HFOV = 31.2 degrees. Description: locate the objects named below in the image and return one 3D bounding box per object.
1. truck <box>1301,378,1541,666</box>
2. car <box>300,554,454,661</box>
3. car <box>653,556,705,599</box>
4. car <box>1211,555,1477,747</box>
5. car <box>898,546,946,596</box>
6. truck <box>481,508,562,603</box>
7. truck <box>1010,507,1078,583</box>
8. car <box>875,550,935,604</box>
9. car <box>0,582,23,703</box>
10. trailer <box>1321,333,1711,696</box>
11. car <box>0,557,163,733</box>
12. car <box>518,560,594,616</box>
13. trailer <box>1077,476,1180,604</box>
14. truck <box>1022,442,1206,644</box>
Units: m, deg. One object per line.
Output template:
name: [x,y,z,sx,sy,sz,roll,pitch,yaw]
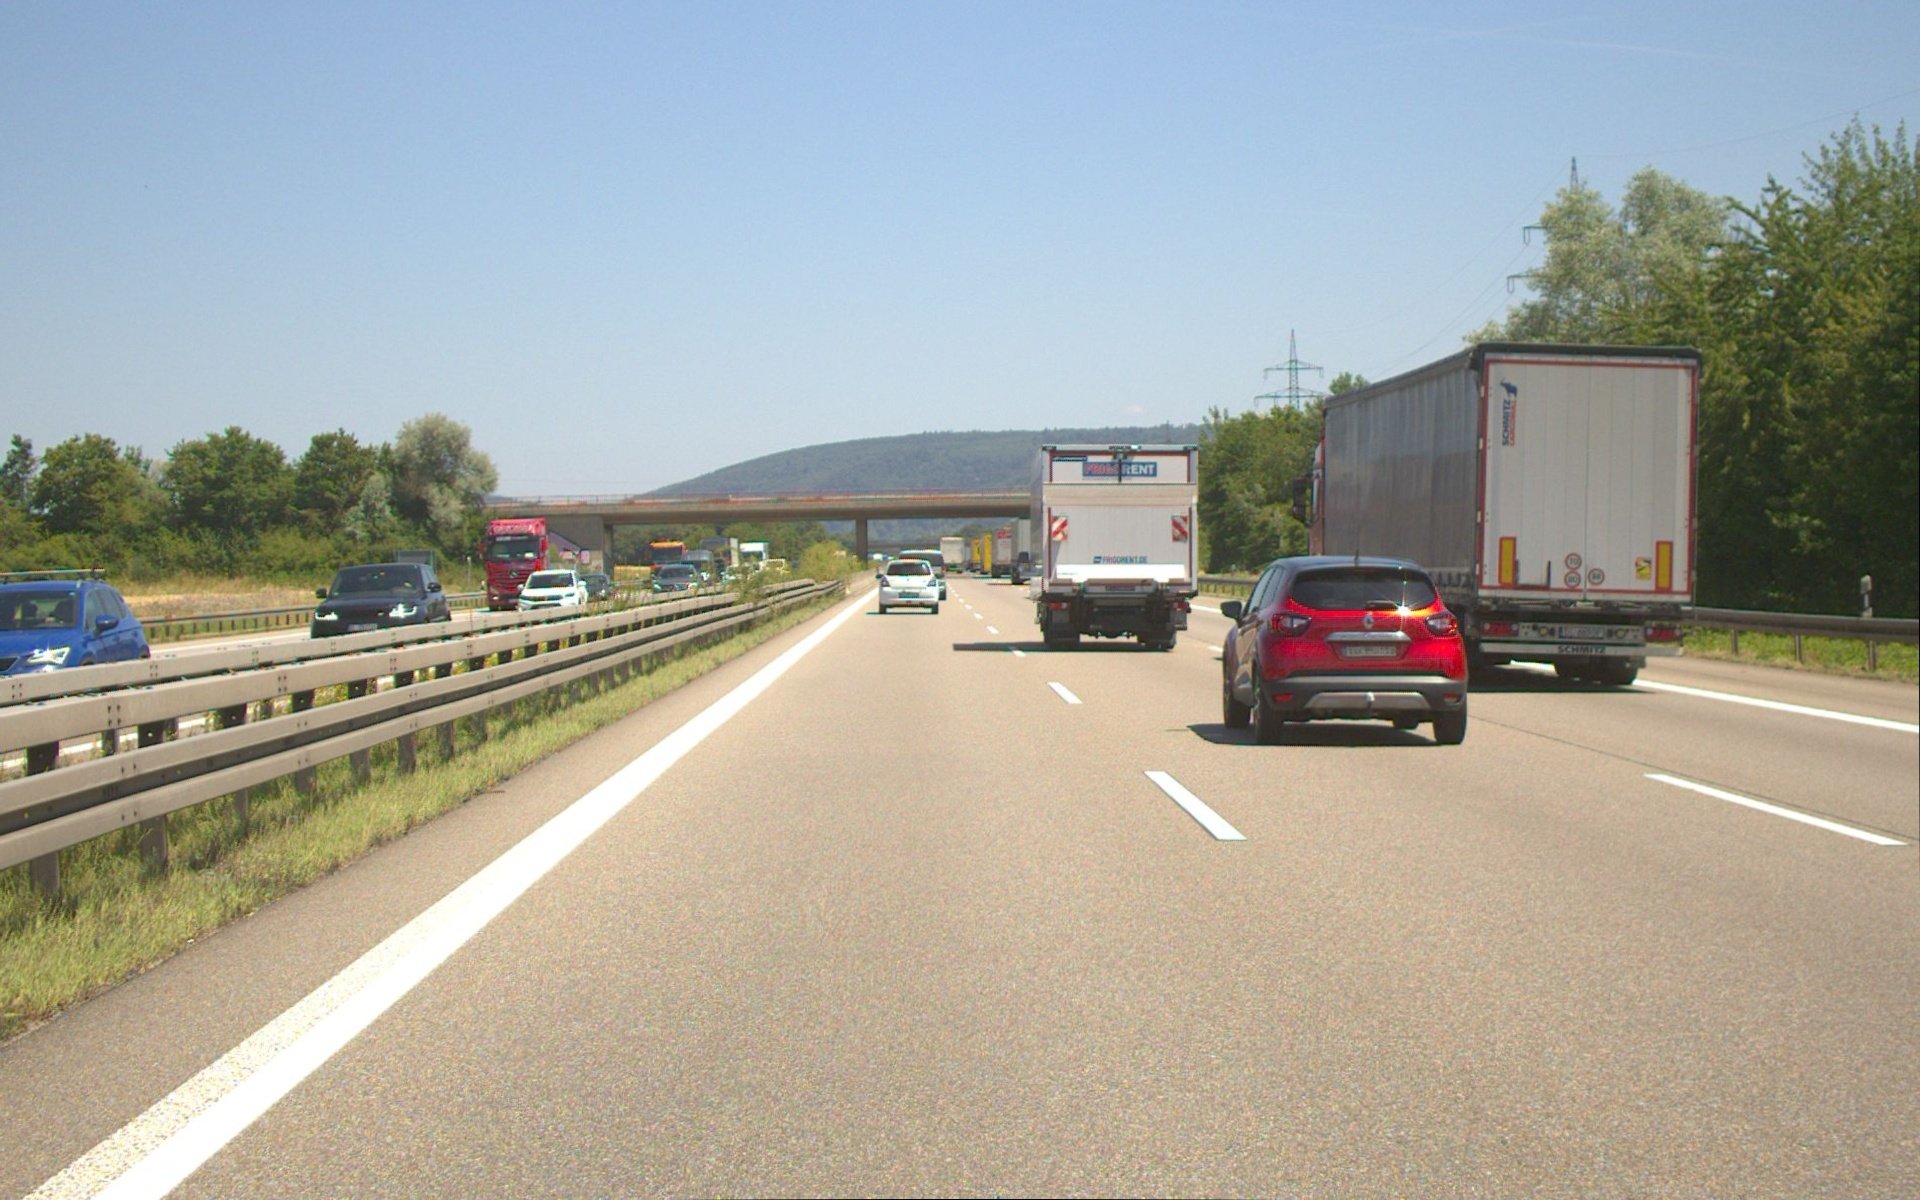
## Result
truck: [6.950,-1.161,52.557,2.794,4.149,5.723,0,1,-1]
car: [-10.228,0.092,60.645,1.959,1.766,4.443,-1,1,-1]
car: [-11.309,-0.915,138.610,1.809,1.642,3.962,-2,1,-1]
car: [3.247,0.385,29.750,1.803,1.540,4.000,0,1,-1]
car: [-1.417,-1.109,129.737,1.761,1.844,4.000,-1,1,0]
truck: [-19.385,-1.968,152.243,2.760,4.000,5.751,-3,1,-1]
truck: [5.038,-3.334,209.891,3.520,4.401,14.592,-1,1,-1]
car: [-1.545,-0.658,97.259,1.607,1.462,4.000,-1,1,0]
car: [-13.468,0.606,43.846,1.879,1.561,4.192,-2,1,-1]
trailer: [7.077,-1.069,46.118,2.789,4.149,13.575,0,1,-1]
car: [-9.808,0.443,36.484,1.767,1.744,3.986,-2,1,-1]
car: [-11.830,-0.359,100.883,1.809,1.531,3.962,-2,1,-1]
trailer: [5.684,-2.033,118.022,2.795,4.149,13.956,0,1,0]
truck: [2.650,-0.994,61.532,2.782,3.361,8.128,0,1,-1]
